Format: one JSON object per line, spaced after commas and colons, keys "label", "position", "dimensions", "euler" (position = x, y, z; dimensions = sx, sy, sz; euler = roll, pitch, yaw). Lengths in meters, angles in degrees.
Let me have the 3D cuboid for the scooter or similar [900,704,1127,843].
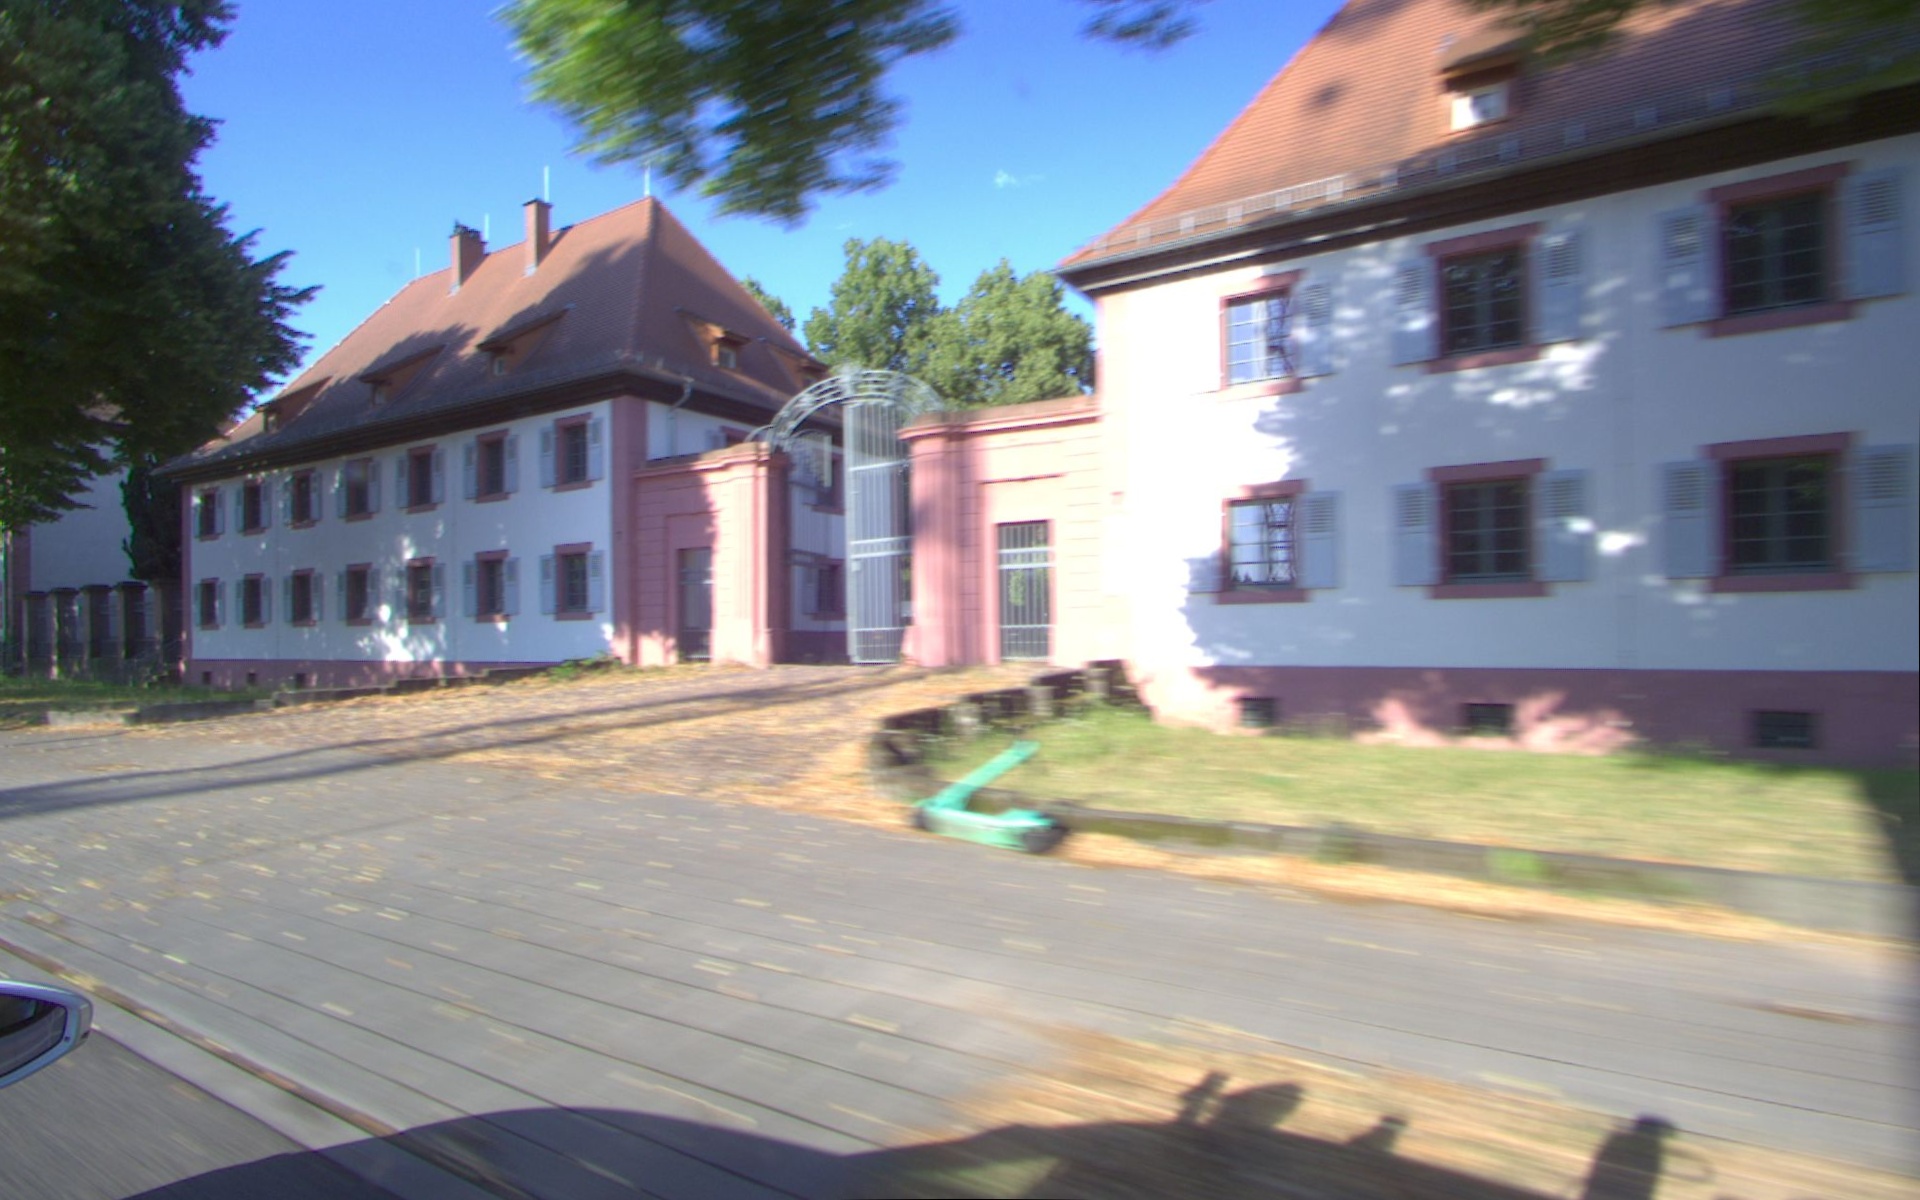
{"label": "scooter or similar", "position": [0.391, 1.119, 6.767], "dimensions": [1.049, 0.556, 1.221], "euler": [-2, 6, 32]}
